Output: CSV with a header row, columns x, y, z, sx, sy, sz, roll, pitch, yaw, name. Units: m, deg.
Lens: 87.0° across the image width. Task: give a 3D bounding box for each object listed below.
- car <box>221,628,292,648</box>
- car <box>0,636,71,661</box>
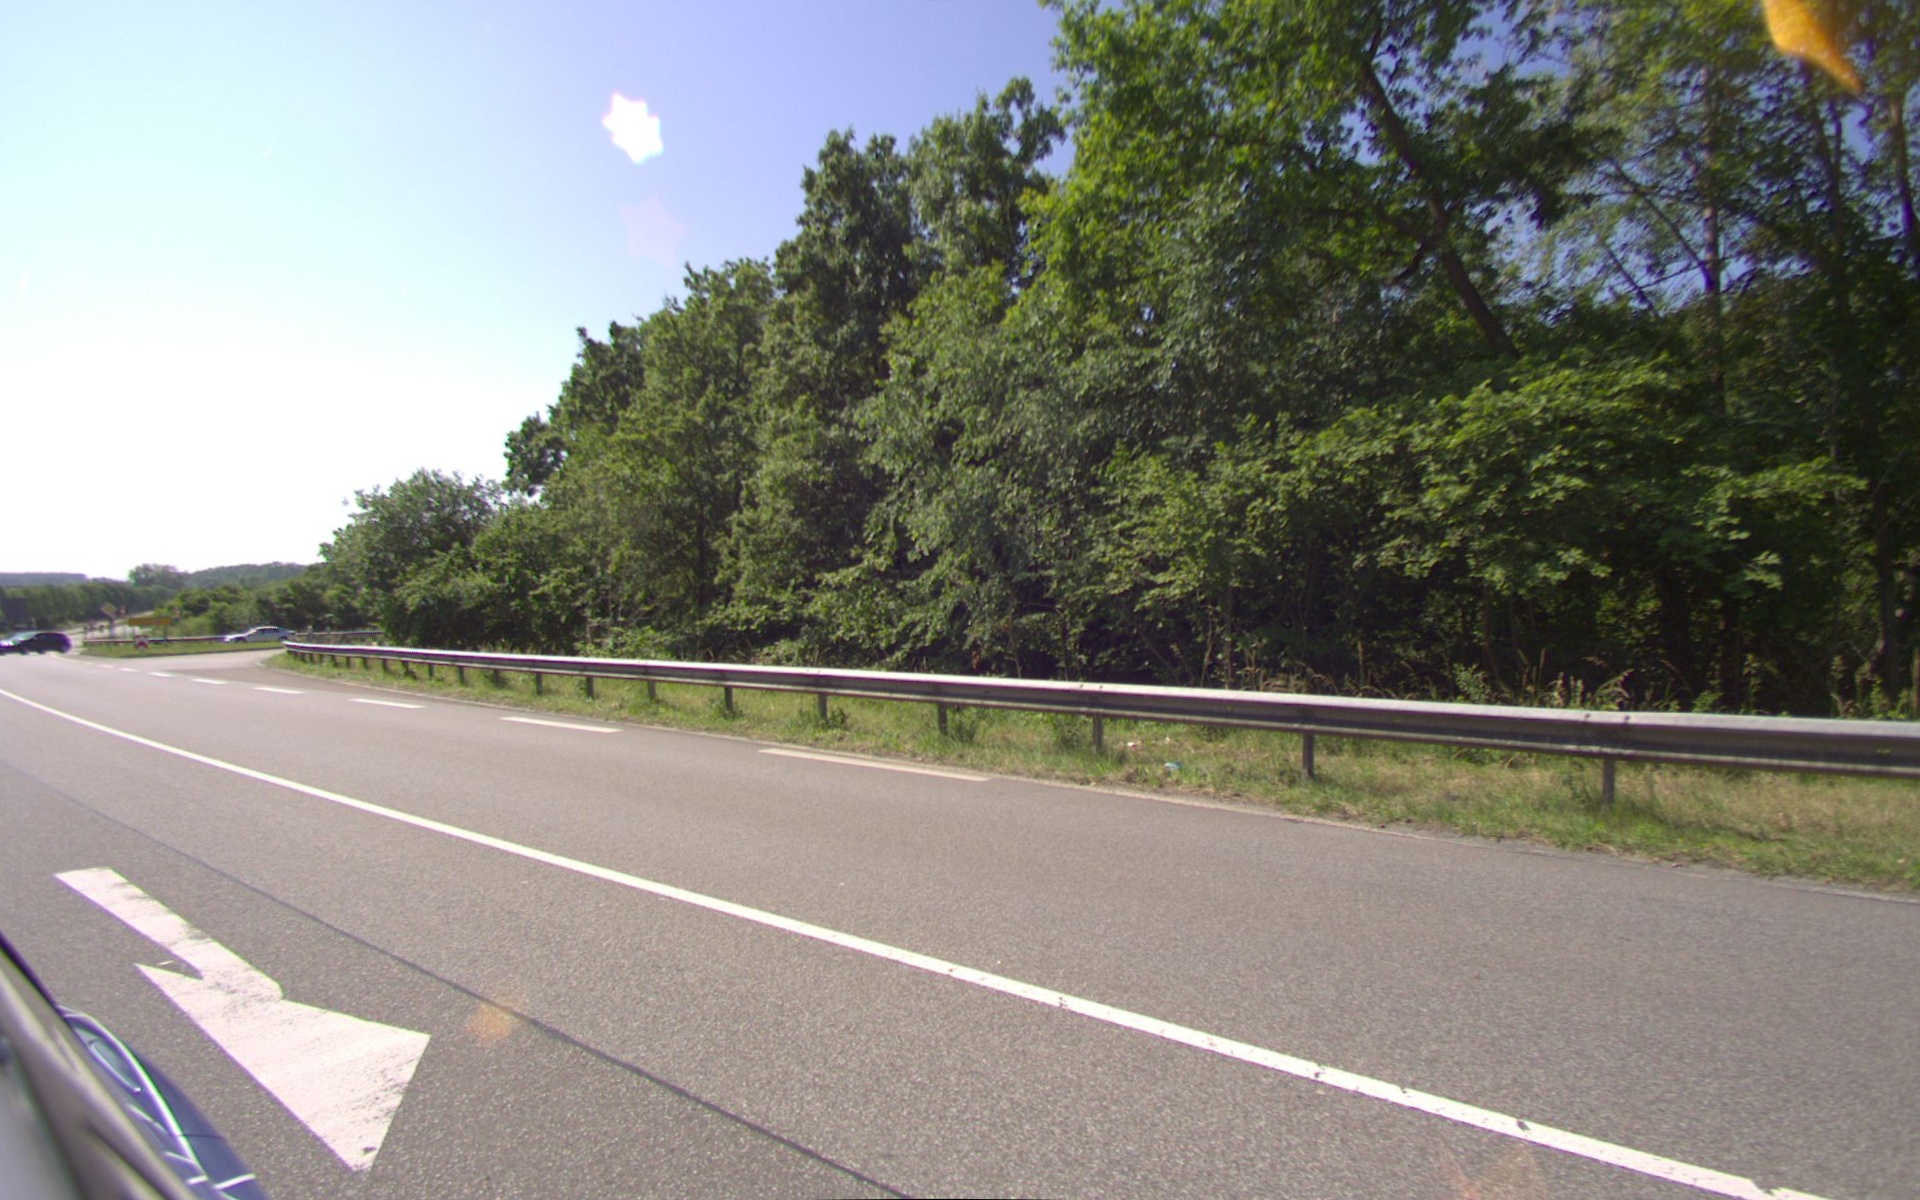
x,y,z,sx,sy,sz,roll,pitch,yaw,name
-53.616,2.900,77.175,4.309,1.396,1.791,-1,-1,-40,car
-59.503,3.080,64.577,1.767,1.425,3.991,-2,-1,7,car
